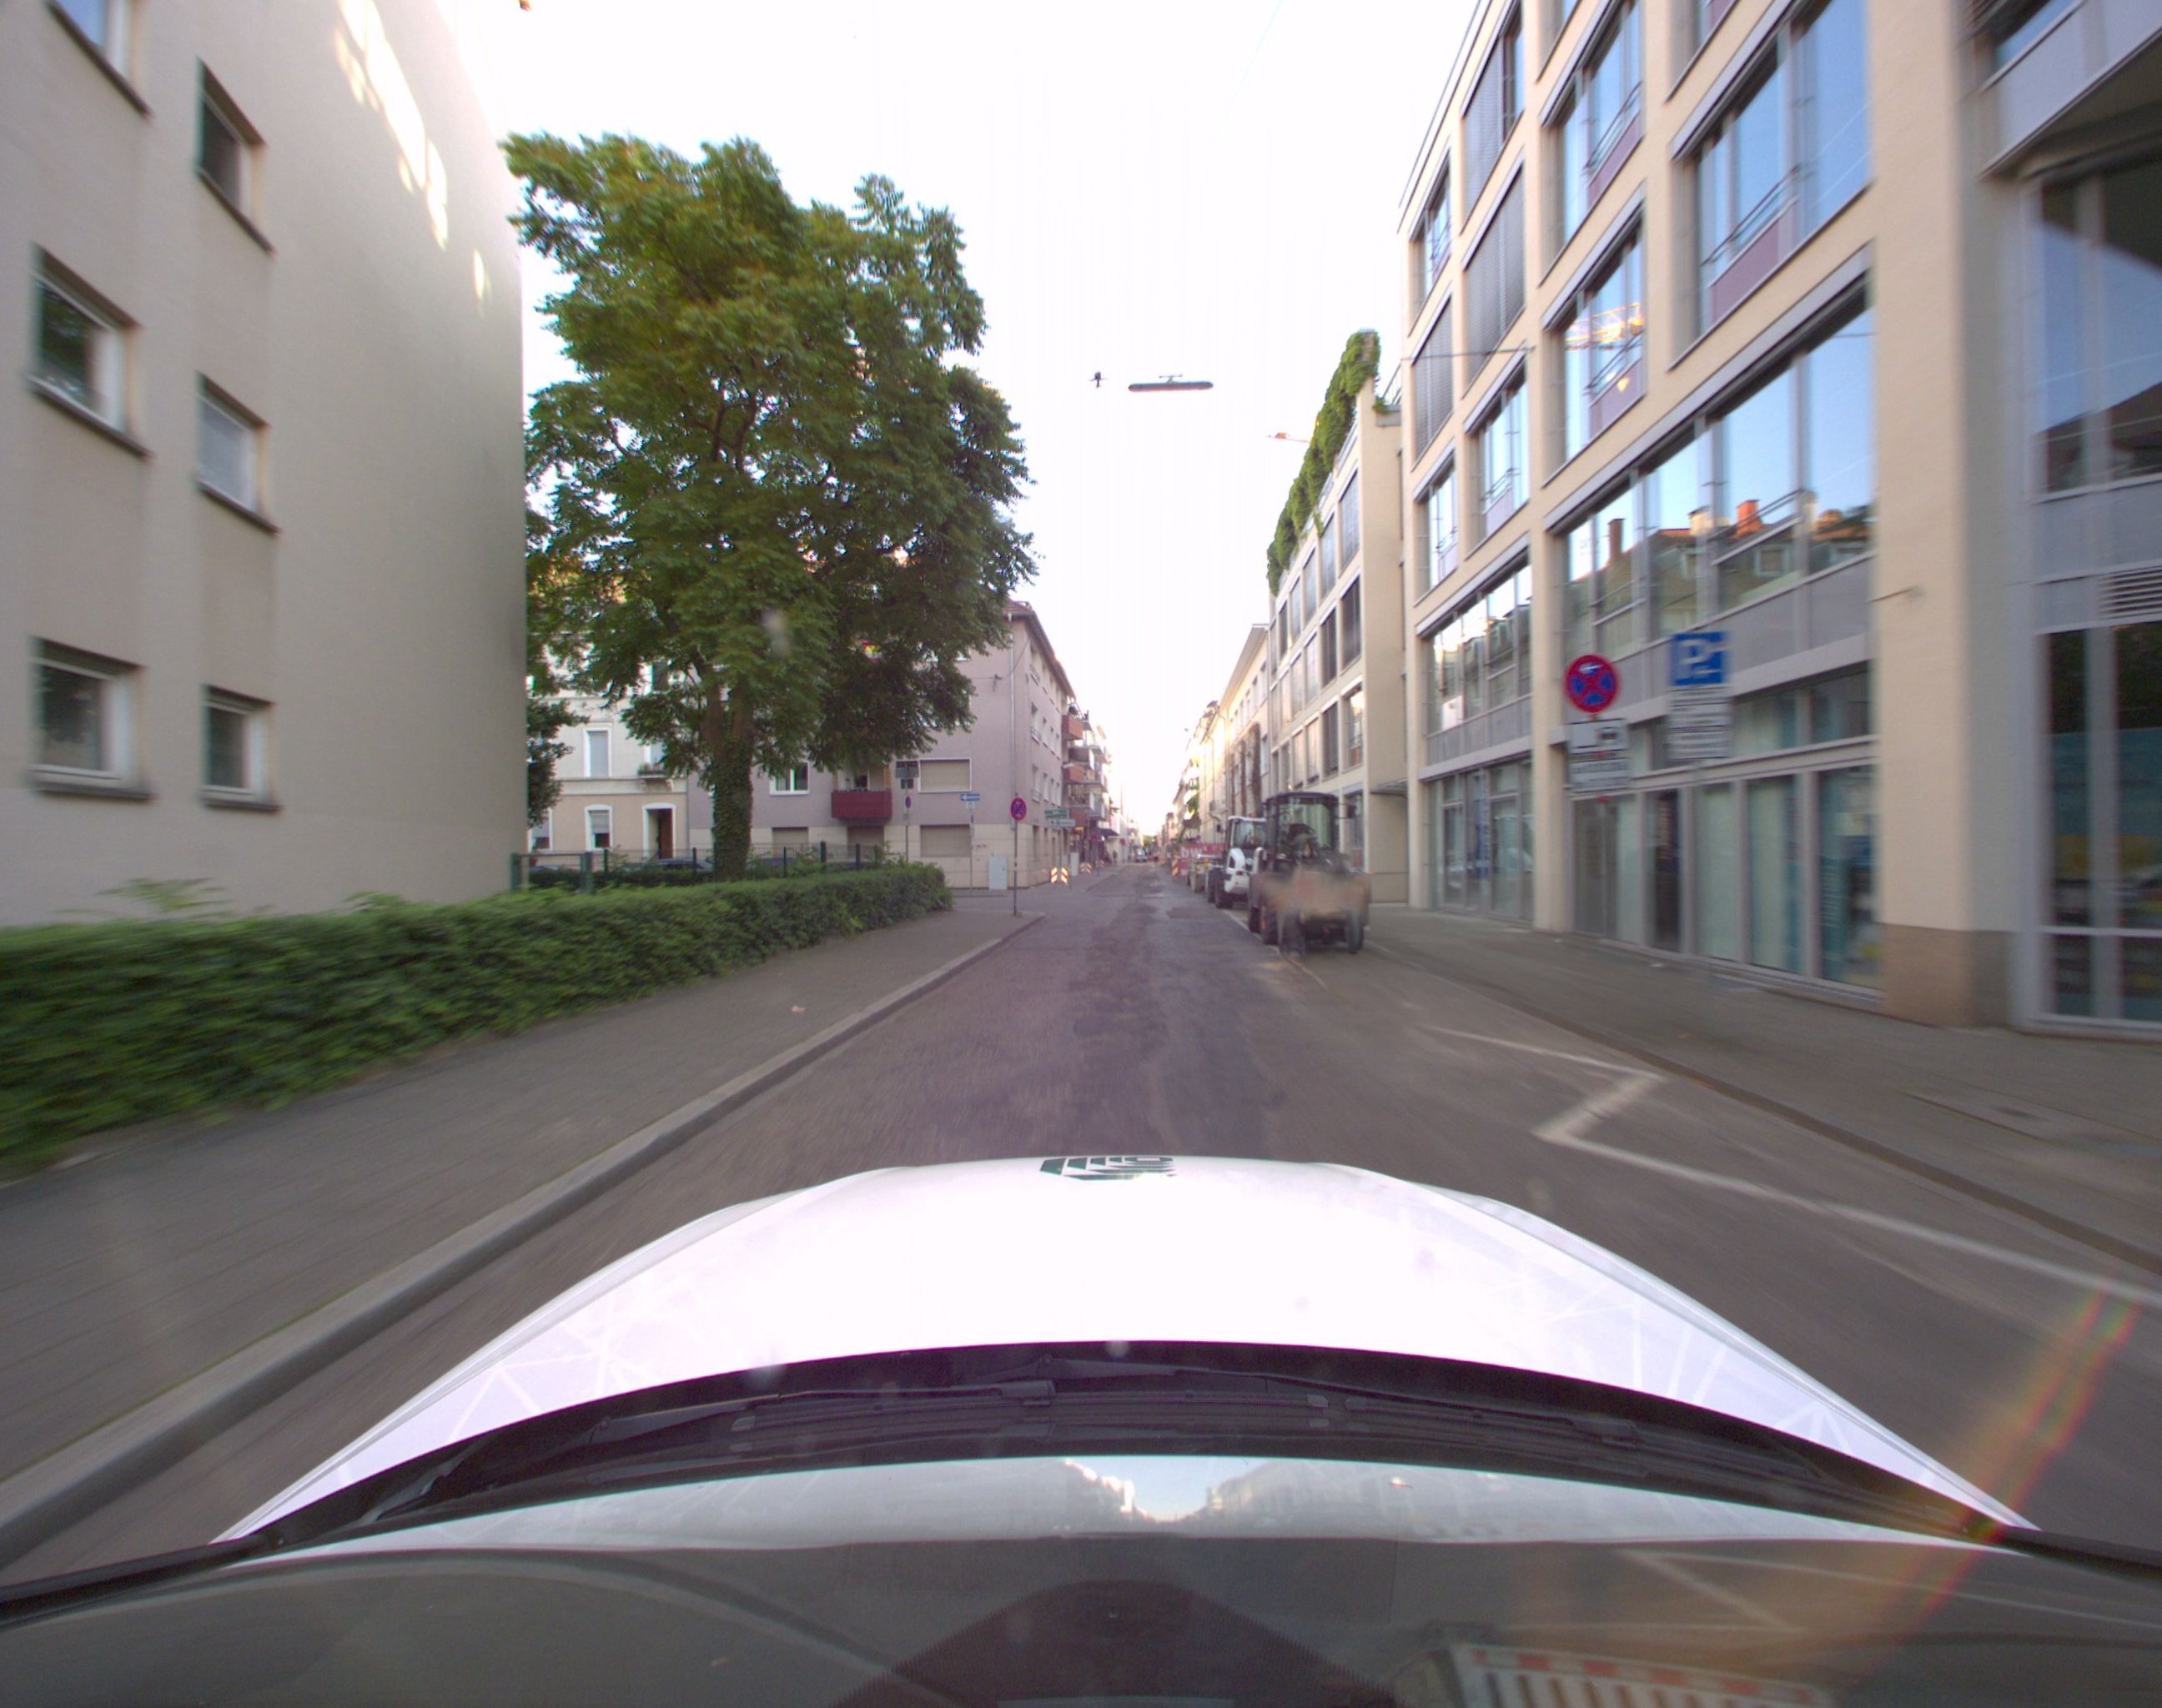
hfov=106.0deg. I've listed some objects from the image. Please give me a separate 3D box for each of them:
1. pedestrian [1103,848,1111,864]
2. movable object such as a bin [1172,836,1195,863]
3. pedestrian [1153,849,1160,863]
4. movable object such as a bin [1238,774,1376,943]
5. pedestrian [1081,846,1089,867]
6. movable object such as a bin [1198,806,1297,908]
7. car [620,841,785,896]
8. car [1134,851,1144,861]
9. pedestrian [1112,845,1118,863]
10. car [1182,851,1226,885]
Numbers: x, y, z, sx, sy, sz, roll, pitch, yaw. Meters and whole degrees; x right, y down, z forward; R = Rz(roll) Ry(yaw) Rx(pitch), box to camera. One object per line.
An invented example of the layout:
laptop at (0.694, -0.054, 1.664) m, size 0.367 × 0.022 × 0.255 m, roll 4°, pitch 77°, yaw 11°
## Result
pedestrian at (2.500, 0.232, 79.739) m, size 0.645 × 1.564 × 0.629 m, roll -1°, pitch 0°, yaw -10°
movable object such as a bin at (12.200, -0.590, 97.156) m, size 2.459 × 3.130 × 4.303 m, roll 0°, pitch 1°, yaw 5°
pedestrian at (9.308, 0.264, 100.207) m, size 0.717 × 1.740 × 0.648 m, roll -1°, pitch 0°, yaw 2°
movable object such as a bin at (3.964, 0.066, 14.916) m, size 1.787 × 2.634 × 4.118 m, roll -1°, pitch 0°, yaw 7°
pedestrian at (0.343, 0.204, 68.261) m, size 0.626 × 1.808 × 0.648 m, roll -1°, pitch 0°, yaw 6°
movable object such as a bin at (4.669, 0.067, 23.691) m, size 2.156 × 2.596 × 5.550 m, roll -1°, pitch 0°, yaw 5°
car at (-11.908, 0.443, 25.781) m, size 4.348 × 1.640 × 1.831 m, roll -1°, pitch 1°, yaw 6°
car at (9.200, 0.303, 128.818) m, size 1.467 × 1.398 × 3.336 m, roll -1°, pitch 0°, yaw 5°
pedestrian at (3.715, 0.000, 88.651) m, size 0.650 × 1.886 × 0.575 m, roll -1°, pitch 0°, yaw 8°
car at (5.545, 0.600, 37.035) m, size 1.685 × 1.406 × 4.486 m, roll 0°, pitch 0°, yaw 5°
